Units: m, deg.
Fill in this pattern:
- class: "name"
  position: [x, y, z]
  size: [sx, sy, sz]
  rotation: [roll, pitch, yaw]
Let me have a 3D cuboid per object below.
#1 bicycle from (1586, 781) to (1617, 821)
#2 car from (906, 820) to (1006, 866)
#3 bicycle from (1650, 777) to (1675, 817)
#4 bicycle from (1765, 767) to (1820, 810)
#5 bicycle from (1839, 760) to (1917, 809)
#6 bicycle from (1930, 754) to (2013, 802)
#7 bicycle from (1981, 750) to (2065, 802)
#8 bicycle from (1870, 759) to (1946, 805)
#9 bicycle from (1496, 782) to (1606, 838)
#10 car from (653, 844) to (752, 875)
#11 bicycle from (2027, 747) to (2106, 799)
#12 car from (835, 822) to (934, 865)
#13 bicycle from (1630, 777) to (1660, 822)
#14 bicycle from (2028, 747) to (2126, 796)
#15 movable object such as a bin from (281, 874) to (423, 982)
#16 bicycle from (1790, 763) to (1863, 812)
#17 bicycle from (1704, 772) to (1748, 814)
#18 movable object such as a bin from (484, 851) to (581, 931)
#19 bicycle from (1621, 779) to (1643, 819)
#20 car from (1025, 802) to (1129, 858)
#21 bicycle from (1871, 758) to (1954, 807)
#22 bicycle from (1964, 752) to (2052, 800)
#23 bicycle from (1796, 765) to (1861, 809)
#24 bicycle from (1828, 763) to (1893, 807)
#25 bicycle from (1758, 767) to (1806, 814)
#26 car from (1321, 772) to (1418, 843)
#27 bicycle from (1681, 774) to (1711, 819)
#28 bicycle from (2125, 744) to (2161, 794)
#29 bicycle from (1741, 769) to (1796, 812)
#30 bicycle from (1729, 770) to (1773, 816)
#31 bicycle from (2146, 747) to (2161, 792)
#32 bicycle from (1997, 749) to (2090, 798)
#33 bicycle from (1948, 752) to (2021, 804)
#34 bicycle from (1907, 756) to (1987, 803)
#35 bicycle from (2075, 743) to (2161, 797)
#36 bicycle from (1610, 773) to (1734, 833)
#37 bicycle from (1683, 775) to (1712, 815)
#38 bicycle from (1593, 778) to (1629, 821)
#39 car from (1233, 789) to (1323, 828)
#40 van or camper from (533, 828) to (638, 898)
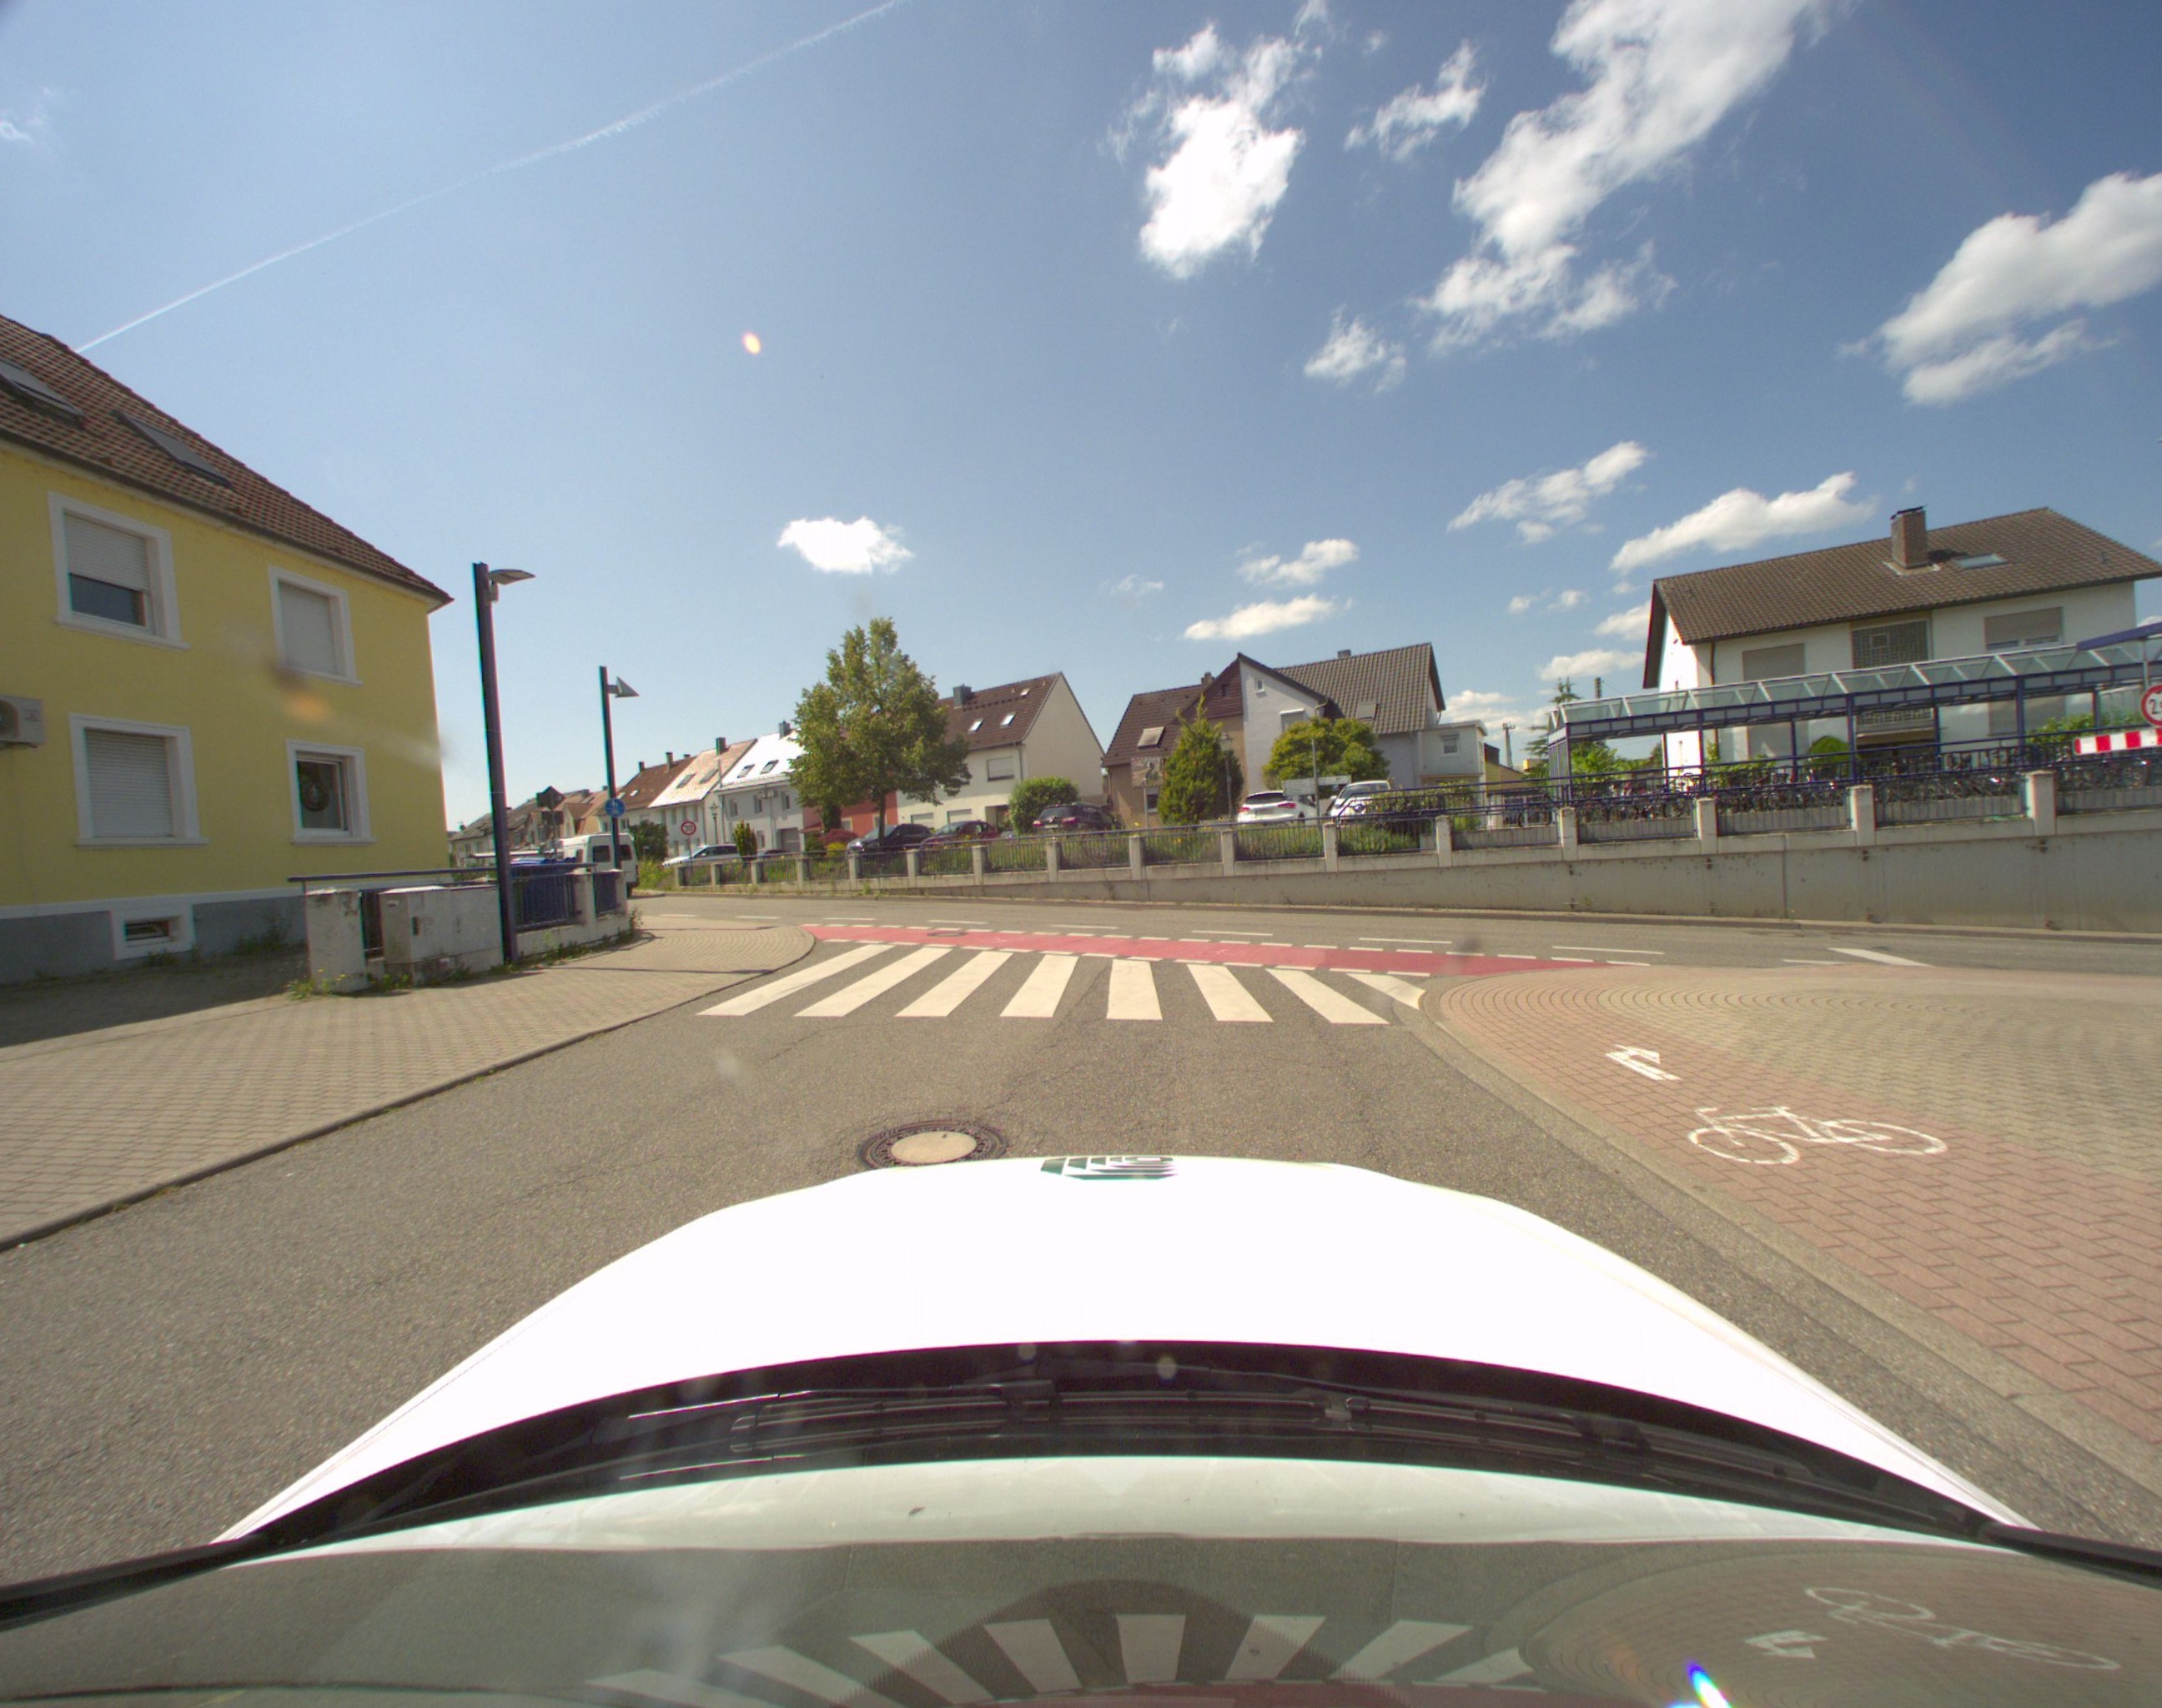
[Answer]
- class: "bicycle"
  position: [13.948, -1.413, 21.799]
  size: [0.451, 0.994, 1.900]
  rotation: [-2, 2, 39]
- class: "car"
  position: [-4.544, -0.429, 30.113]
  size: [1.850, 1.586, 3.632]
  rotation: [1, 1, 28]
- class: "bicycle"
  position: [15.484, -1.501, 21.714]
  size: [0.369, 0.994, 1.978]
  rotation: [-3, 1, 32]
- class: "bicycle"
  position: [17.854, -1.612, 20.476]
  size: [0.410, 0.994, 1.977]
  rotation: [-3, 1, 23]
- class: "bicycle"
  position: [17.883, -1.531, 18.328]
  size: [0.527, 0.994, 2.201]
  rotation: [-3, 1, 25]
- class: "bicycle"
  position: [21.049, -1.772, 19.288]
  size: [0.514, 0.994, 1.977]
  rotation: [-3, 1, 23]
- class: "bicycle"
  position: [20.117, -1.642, 17.442]
  size: [0.510, 0.994, 2.052]
  rotation: [-3, 1, 30]
- class: "bicycle"
  position: [19.732, -1.699, 19.477]
  size: [0.514, 0.994, 1.977]
  rotation: [-3, 1, 23]
- class: "bicycle"
  position: [10.582, -0.975, 18.400]
  size: [2.096, 1.125, 0.335]
  rotation: [-3, 1, 22]
- class: "car"
  position: [-19.186, 0.218, 41.483]
  size: [1.725, 1.488, 4.284]
  rotation: [1, 1, 34]
- class: "bicycle"
  position: [20.772, -1.675, 17.205]
  size: [0.510, 0.994, 2.052]
  rotation: [-2, 2, 35]
- class: "car"
  position: [-7.701, -0.412, 32.197]
  size: [1.850, 1.586, 3.632]
  rotation: [1, 1, 28]
- class: "bicycle"
  position: [13.626, -1.312, 19.646]
  size: [0.431, 0.994, 2.116]
  rotation: [-2, 2, 39]
- class: "bicycle"
  position: [22.621, -1.847, 18.547]
  size: [0.514, 0.994, 1.977]
  rotation: [-3, 1, 23]
- class: "movable object such as a bin"
  position: [-9.092, 0.899, 10.198]
  size: [0.881, 1.225, 0.903]
  rotation: [-3, 1, 4]
- class: "bicycle"
  position: [16.915, -1.479, 18.528]
  size: [0.527, 0.994, 2.295]
  rotation: [-3, 1, 25]
- class: "bicycle"
  position: [16.708, -1.560, 21.128]
  size: [0.422, 0.994, 1.978]
  rotation: [-3, 1, 26]
- class: "movable object such as a bin"
  position: [-9.093, 0.584, 13.563]
  size: [0.840, 1.213, 1.272]
  rotation: [-3, 1, -11]
- class: "bicycle"
  position: [14.633, -1.450, 21.651]
  size: [0.369, 0.994, 1.978]
  rotation: [-3, 1, 32]
- class: "car"
  position: [-0.053, -0.802, 28.025]
  size: [1.850, 1.797, 4.024]
  rotation: [1, 1, 28]
- class: "bicycle"
  position: [18.603, -1.572, 18.268]
  size: [0.527, 0.994, 2.201]
  rotation: [-3, 1, 25]
- class: "bicycle"
  position: [21.592, -1.798, 19.013]
  size: [0.514, 0.994, 1.977]
  rotation: [-3, 1, 23]
- class: "bicycle"
  position: [18.519, -1.645, 20.226]
  size: [0.514, 0.994, 1.977]
  rotation: [-3, 1, 23]
- class: "bicycle"
  position: [19.183, -1.681, 20.081]
  size: [0.514, 0.994, 1.812]
  rotation: [-3, 1, 23]
- class: "bicycle"
  position: [16.256, -1.450, 18.917]
  size: [0.431, 0.994, 2.296]
  rotation: [-3, 1, 31]
- class: "car"
  position: [8.288, -1.224, 23.128]
  size: [1.975, 1.797, 4.222]
  rotation: [1, 1, 28]
- class: "bicycle"
  position: [14.626, -1.365, 19.394]
  size: [0.431, 0.994, 2.116]
  rotation: [-2, 2, 34]
- class: "bicycle"
  position: [22.144, -1.739, 16.491]
  size: [0.538, 0.994, 2.052]
  rotation: [-3, 1, 32]
- class: "bicycle"
  position: [17.424, -1.591, 20.673]
  size: [0.469, 0.994, 1.977]
  rotation: [-3, 1, 23]
- class: "bicycle"
  position: [15.737, -1.425, 19.171]
  size: [0.431, 0.994, 2.296]
  rotation: [-3, 1, 31]
- class: "bicycle"
  position: [24.256, -1.890, 17.707]
  size: [0.538, 0.994, 2.052]
  rotation: [-3, 1, 29]
- class: "bicycle"
  position: [22.118, -1.823, 18.759]
  size: [0.514, 0.994, 1.977]
  rotation: [-3, 1, 23]
- class: "bicycle"
  position: [19.293, -1.593, 17.430]
  size: [0.573, 0.994, 2.202]
  rotation: [-2, 2, 36]
- class: "bicycle"
  position: [20.434, -1.736, 19.265]
  size: [0.514, 0.994, 1.977]
  rotation: [-3, 1, 23]
- class: "bicycle"
  position: [21.381, -1.701, 16.771]
  size: [0.510, 0.994, 2.052]
  rotation: [-3, 1, 32]
- class: "bicycle"
  position: [12.708, -1.080, 17.560]
  size: [2.096, 1.125, 0.394]
  rotation: [-3, 1, 22]
- class: "bicycle"
  position: [16.065, -1.525, 21.243]
  size: [0.369, 0.994, 1.978]
  rotation: [-3, 1, 32]
- class: "bicycle"
  position: [13.195, -1.336, 20.319]
  size: [0.329, 0.994, 2.087]
  rotation: [-3, 1, 22]
- class: "car"
  position: [5.955, -1.303, 24.337]
  size: [1.808, 1.019, 3.480]
  rotation: [1, 1, 28]
- class: "van or camper"
  position: [-20.150, 0.366, 33.024]
  size: [5.324, 2.630, 2.017]
  rotation: [-1, -1, 40]
